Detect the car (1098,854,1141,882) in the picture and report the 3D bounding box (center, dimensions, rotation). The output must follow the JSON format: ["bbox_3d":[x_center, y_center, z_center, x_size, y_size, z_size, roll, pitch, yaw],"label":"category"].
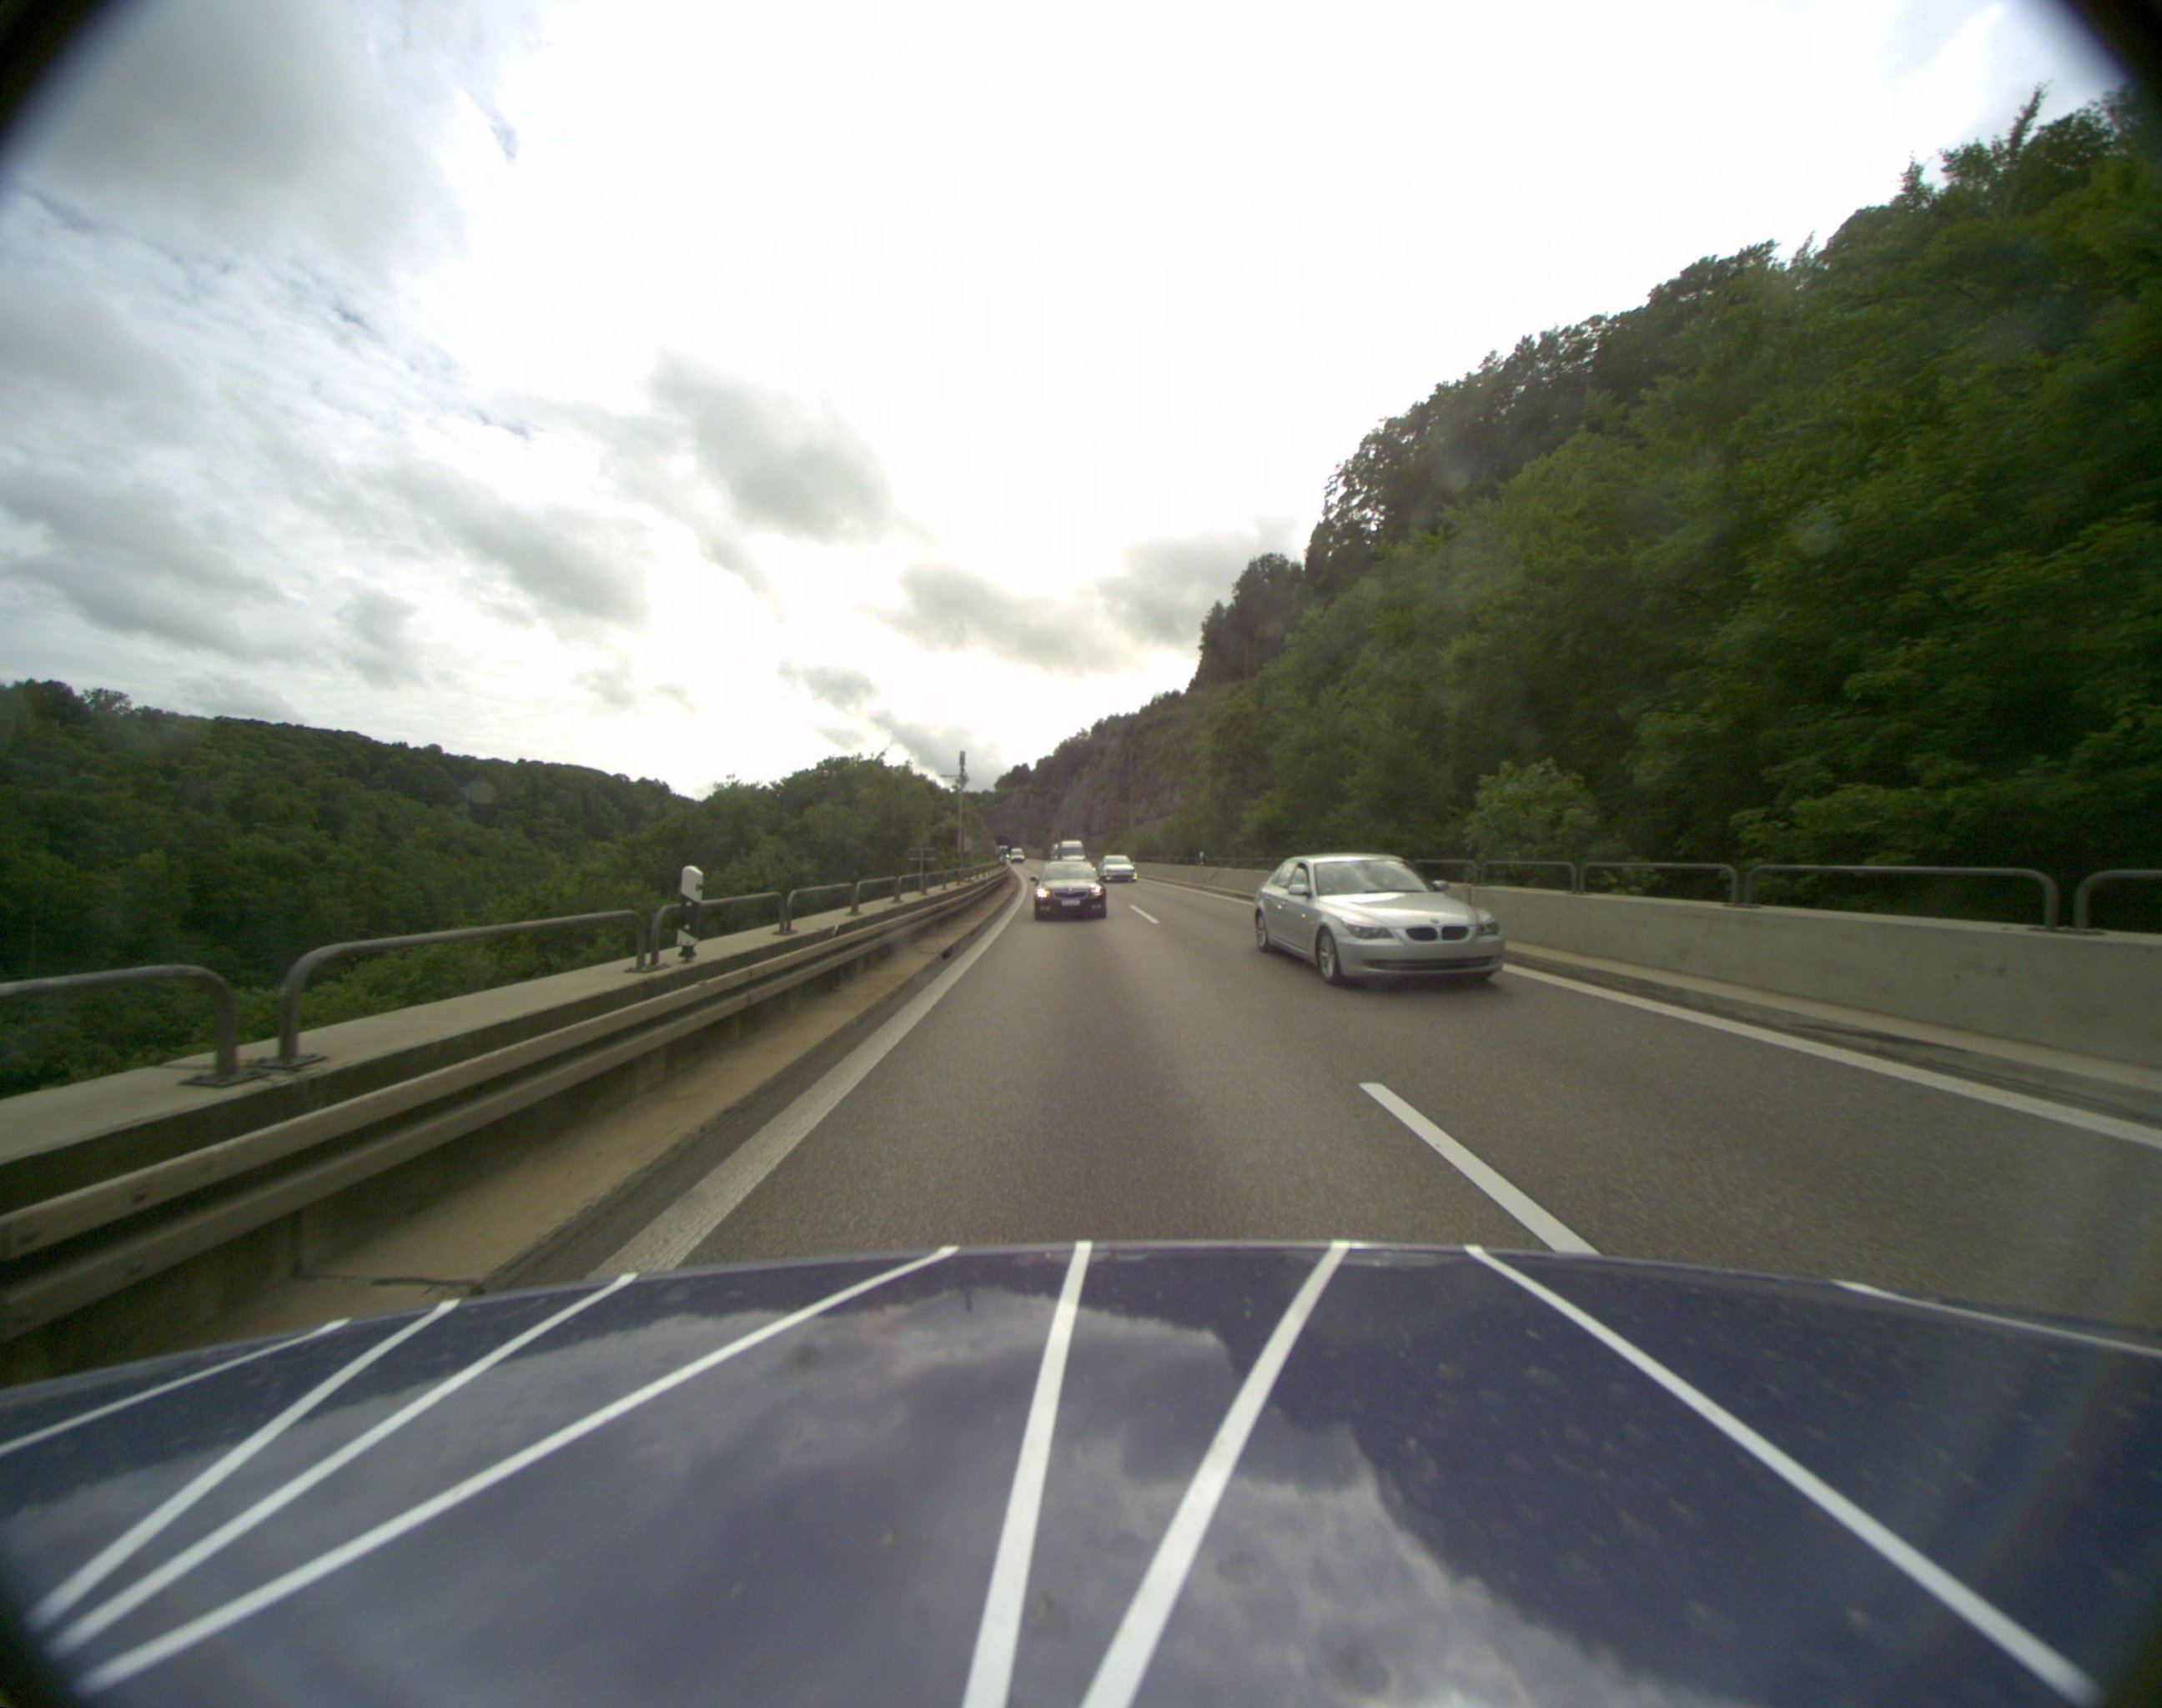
[{"bbox_3d":[2.084,0.746,42.329,1.923,1.452,4.229,-2,0,-3],"label":"car"}]

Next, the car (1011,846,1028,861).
[{"bbox_3d":[-10.550,-0.142,130.486,2.675,2.408,6.117,-2,0,-7],"label":"car"}]

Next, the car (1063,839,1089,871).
[{"bbox_3d":[-0.481,0.016,62.802,1.869,2.444,4.980,-2,2,-3],"label":"car"}]

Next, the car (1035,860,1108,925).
[{"bbox_3d":[-0.294,0.929,20.020,1.677,1.418,4.471,-2,0,-2],"label":"car"}]

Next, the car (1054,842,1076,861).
[{"bbox_3d":[-1.828,-0.252,86.075,2.231,2.061,5.623,-2,0,-3],"label":"car"}]

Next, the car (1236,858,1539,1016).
[{"bbox_3d":[3.545,0.831,10.038,1.833,1.448,5.134,-2,0,-1],"label":"car"}]
